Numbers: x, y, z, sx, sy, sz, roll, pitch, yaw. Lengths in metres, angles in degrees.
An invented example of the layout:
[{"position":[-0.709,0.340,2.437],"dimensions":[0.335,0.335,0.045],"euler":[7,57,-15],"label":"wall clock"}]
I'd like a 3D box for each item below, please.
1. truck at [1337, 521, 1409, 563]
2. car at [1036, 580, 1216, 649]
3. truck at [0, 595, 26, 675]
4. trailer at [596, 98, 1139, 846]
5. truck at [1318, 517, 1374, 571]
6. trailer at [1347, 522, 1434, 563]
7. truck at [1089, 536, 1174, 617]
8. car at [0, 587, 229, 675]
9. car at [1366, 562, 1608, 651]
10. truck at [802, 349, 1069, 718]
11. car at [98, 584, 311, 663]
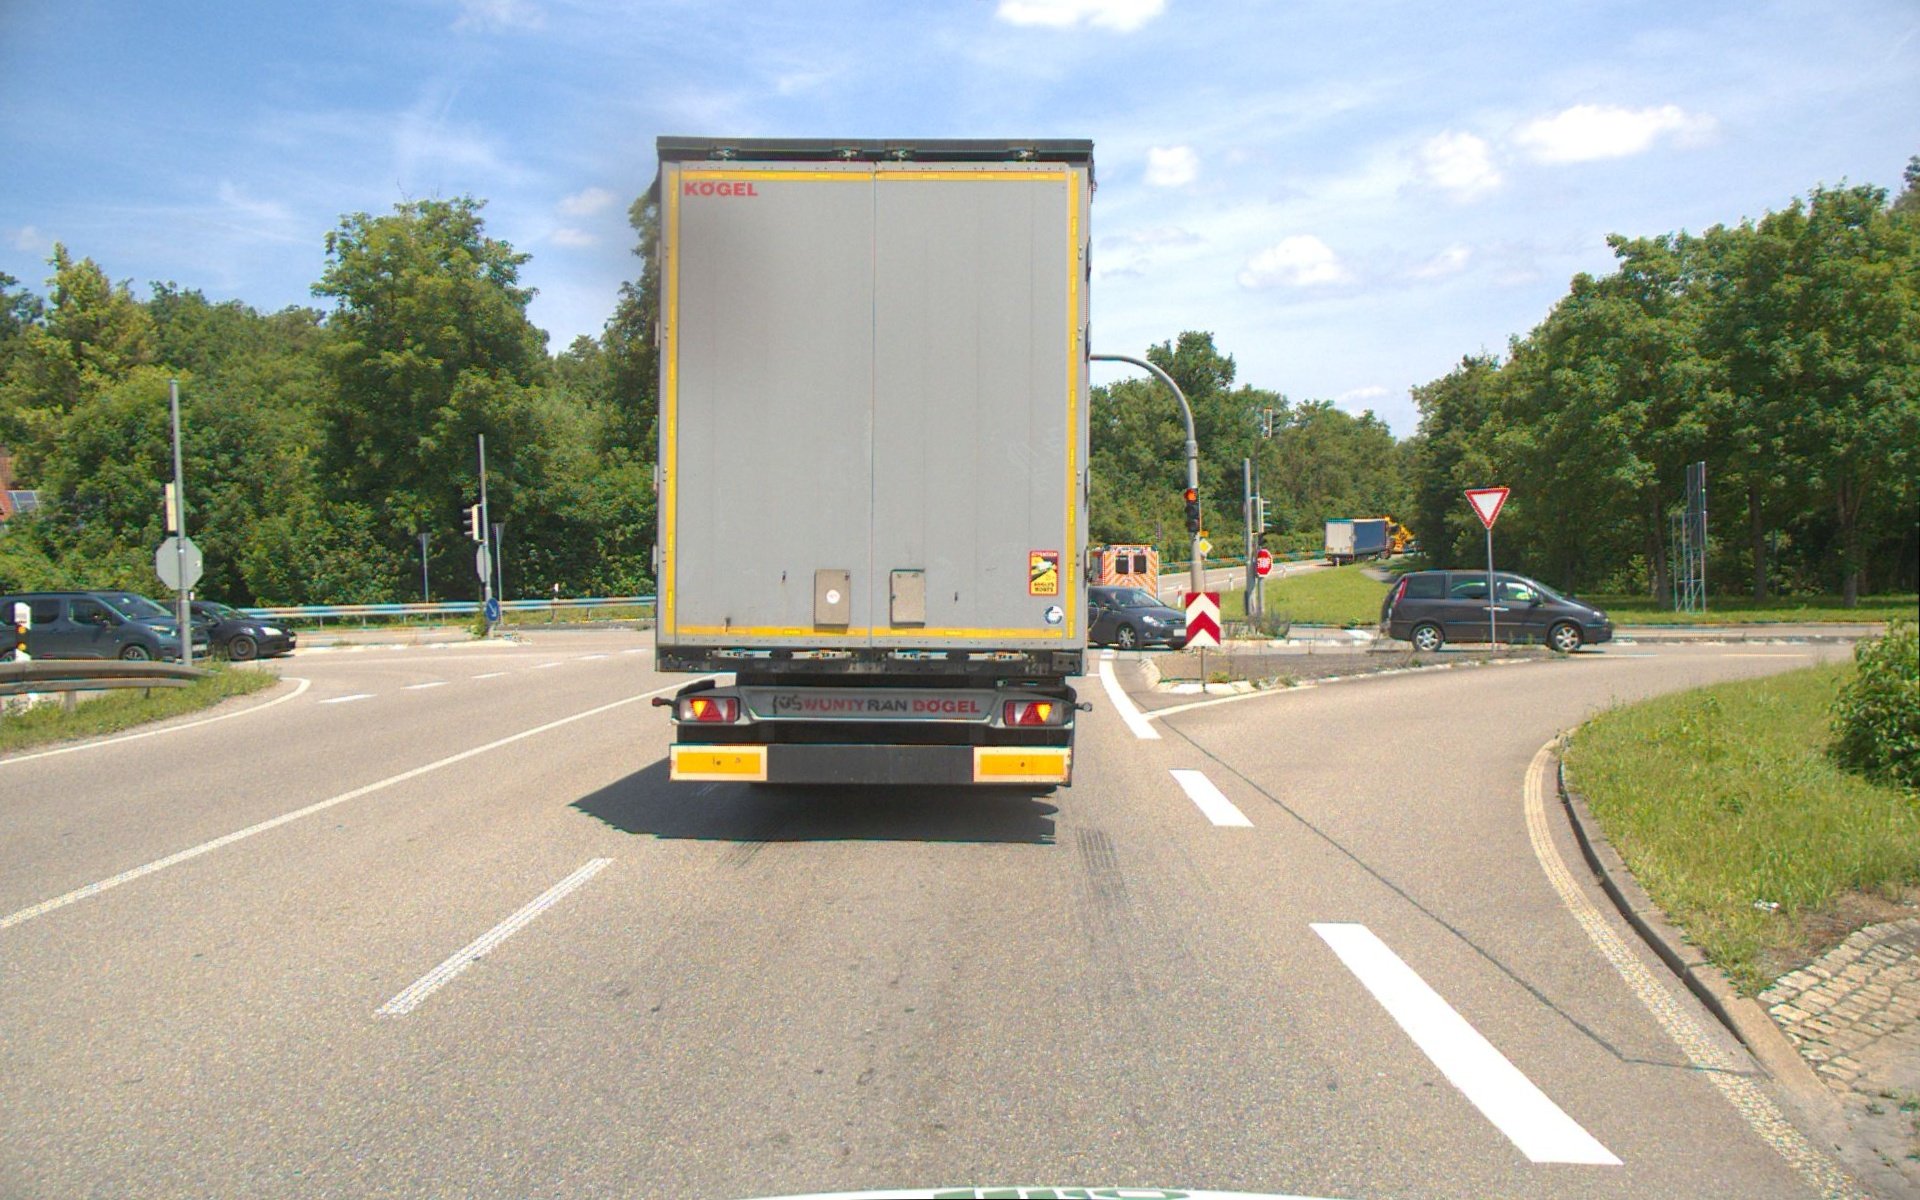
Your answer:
[{"position":[45.184,-6.289,180.622],"dimensions":[4.915,4.438,11.749],"euler":[0,2,28],"label":"truck"},{"position":[3.892,0.361,39.293],"dimensions":[1.978,1.517,4.202],"euler":[2,-2,-36],"label":"car"},{"position":[-24.421,0.760,37.922],"dimensions":[4.791,1.823,2.036],"euler":[1,-2,-13],"label":"truck"},{"position":[-0.354,-0.747,15.380],"dimensions":[2.988,4.104,12.561],"euler":[0,0,1],"label":"trailer"},{"position":[35.951,-5.123,153.536],"dimensions":[3.115,4.100,11.739],"euler":[1,-2,23],"label":"truck"},{"position":[49.143,-6.465,188.125],"dimensions":[4.915,4.438,20.810],"euler":[0,2,28],"label":"trailer"},{"position":[6.360,-0.818,62.153],"dimensions":[2.443,2.776,6.028],"euler":[1,-2,-1],"label":"truck"},{"position":[-17.907,0.641,34.879],"dimensions":[4.143,1.801,2.002],"euler":[0,0,9],"label":"car"},{"position":[11.248,0.146,35.510],"dimensions":[4.822,1.816,2.001],"euler":[0,-2,17],"label":"car"},{"position":[-0.190,-0.766,21.773],"dimensions":[2.975,4.104,6.631],"euler":[0,0,1],"label":"truck"},{"position":[-17.780,0.559,39.013],"dimensions":[4.143,1.801,2.002],"euler":[0,0,9],"label":"car"}]
